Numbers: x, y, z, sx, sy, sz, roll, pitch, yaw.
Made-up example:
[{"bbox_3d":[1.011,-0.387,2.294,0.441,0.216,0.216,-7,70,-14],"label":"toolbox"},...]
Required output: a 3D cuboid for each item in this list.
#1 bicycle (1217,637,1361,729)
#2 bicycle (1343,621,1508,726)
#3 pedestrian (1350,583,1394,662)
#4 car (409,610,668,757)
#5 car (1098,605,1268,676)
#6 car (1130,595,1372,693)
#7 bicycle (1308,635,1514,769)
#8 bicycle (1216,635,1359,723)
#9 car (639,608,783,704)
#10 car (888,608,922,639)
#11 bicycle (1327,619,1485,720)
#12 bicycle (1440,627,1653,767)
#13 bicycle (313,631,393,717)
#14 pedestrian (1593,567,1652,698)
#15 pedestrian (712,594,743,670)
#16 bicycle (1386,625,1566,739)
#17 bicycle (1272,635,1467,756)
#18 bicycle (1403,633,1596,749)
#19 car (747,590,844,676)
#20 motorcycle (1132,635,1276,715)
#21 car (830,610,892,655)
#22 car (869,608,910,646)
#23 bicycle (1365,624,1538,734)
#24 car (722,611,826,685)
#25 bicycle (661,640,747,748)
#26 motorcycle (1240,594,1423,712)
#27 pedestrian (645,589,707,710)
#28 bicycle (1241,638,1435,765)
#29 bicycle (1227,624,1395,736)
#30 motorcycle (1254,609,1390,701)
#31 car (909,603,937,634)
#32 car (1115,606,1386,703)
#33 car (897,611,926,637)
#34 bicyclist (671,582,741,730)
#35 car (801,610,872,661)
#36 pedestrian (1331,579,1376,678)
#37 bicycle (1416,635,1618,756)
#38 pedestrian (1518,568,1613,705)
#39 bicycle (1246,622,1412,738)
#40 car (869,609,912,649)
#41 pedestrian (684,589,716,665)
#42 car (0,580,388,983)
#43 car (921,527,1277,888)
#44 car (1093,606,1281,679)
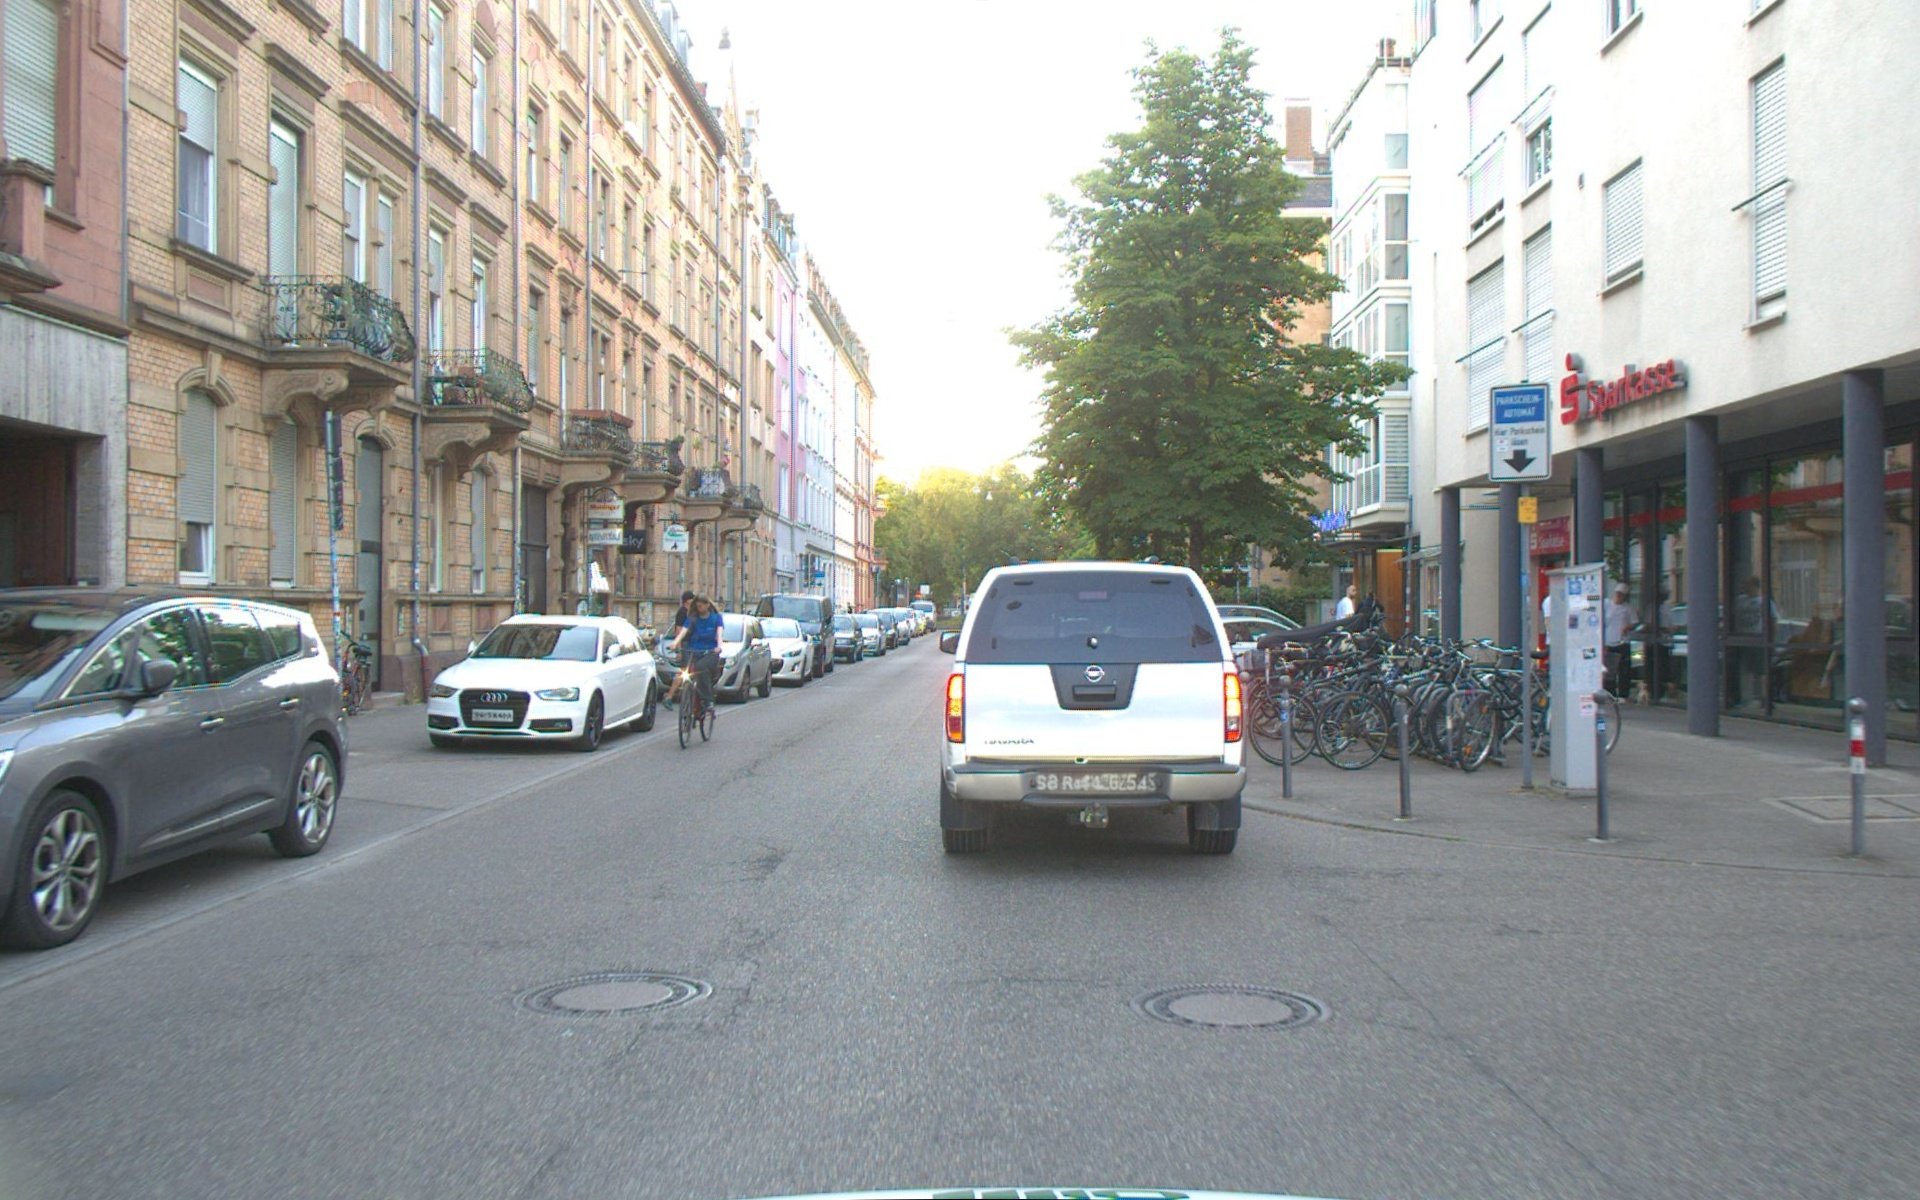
[{"bbox_3d":[4.202,1.060,21.194,1.683,1.049,0.668,-4,-2,4],"label":"bicycle"},{"bbox_3d":[5.391,0.839,19.216,1.687,1.137,0.653,-2,-1,-2],"label":"bicycle"},{"bbox_3d":[9.366,0.516,37.640,0.712,1.746,0.963,-2,-1,2],"label":"pedestrian"},{"bbox_3d":[-4.721,0.870,19.222,1.721,1.436,4.509,1,0,2],"label":"car"},{"bbox_3d":[5.279,0.952,39.471,3.718,1.478,1.734,-3,0,-4],"label":"car"},{"bbox_3d":[5.514,0.817,31.714,4.308,1.676,1.746,-2,0,1],"label":"car"},{"bbox_3d":[4.110,0.920,15.162,1.686,1.137,0.707,-2,-1,5],"label":"bicycle"},{"bbox_3d":[4.300,1.034,21.809,1.735,1.040,0.565,-4,-2,4],"label":"bicycle"},{"bbox_3d":[-4.268,0.921,28.888,1.681,1.483,4.001,2,0,3],"label":"car"},{"bbox_3d":[-3.053,1.305,92.261,1.663,1.649,4.022,2,-1,1],"label":"car"},{"bbox_3d":[5.358,0.834,19.939,1.687,1.137,0.653,-2,-1,-2],"label":"bicycle"},{"bbox_3d":[5.211,0.848,14.710,1.691,1.151,0.577,-2,-1,-11],"label":"bicycle"},{"bbox_3d":[-7.888,0.947,21.542,0.581,1.045,1.622,1,0,-6],"label":"bicycle"},{"bbox_3d":[9.075,0.433,22.652,0.650,1.753,0.661,-1,1,30],"label":"pedestrian"},{"bbox_3d":[-5.689,0.769,40.463,0.593,1.803,0.777,3,0,-3],"label":"pedestrian"},{"bbox_3d":[5.460,0.860,17.561,1.686,1.137,0.654,-2,-1,5],"label":"bicycle"},{"bbox_3d":[4.143,0.954,16.812,1.772,1.137,0.707,-2,-1,0],"label":"bicycle"},{"bbox_3d":[5.328,0.894,16.405,1.686,1.072,0.654,-2,-1,5],"label":"bicycle"},{"bbox_3d":[-4.083,0.791,41.747,1.953,1.957,4.950,2,0,-1],"label":"car"},{"bbox_3d":[3.665,1.115,24.883,2.023,1.097,0.661,-2,-1,-14],"label":"motorcycle"},{"bbox_3d":[-3.547,1.141,59.970,1.796,1.483,4.207,3,0,2],"label":"car"},{"bbox_3d":[-3.232,1.247,76.108,1.807,1.688,4.251,0,-1,-1],"label":"car"},{"bbox_3d":[5.371,0.857,18.133,1.686,1.137,0.654,-2,-1,5],"label":"bicycle"},{"bbox_3d":[-4.025,1.011,36.387,1.747,1.447,4.485,2,0,0],"label":"car"},{"bbox_3d":[-2.906,1.043,18.978,0.631,1.100,2.168,-1,0,0],"label":"bicycle"},{"bbox_3d":[5.347,0.762,23.942,2.439,1.576,0.824,-2,-1,4],"label":"motorcycle"},{"bbox_3d":[-4.290,0.748,25.024,0.542,1.786,1.023,0,-2,14],"label":"pedestrian"},{"bbox_3d":[3.641,0.966,16.034,1.687,1.137,0.707,-2,-1,0],"label":"bicycle"},{"bbox_3d":[4.179,0.954,19.818,1.830,1.203,0.743,-4,-2,6],"label":"bicycle"},{"bbox_3d":[5.891,0.882,26.977,2.016,1.393,0.717,-2,0,-2],"label":"motorcycle"},{"bbox_3d":[-2.540,1.228,112.128,1.774,2.011,4.184,2,-1,-3],"label":"car"},{"bbox_3d":[5.027,0.931,28.959,4.336,1.481,1.778,-2,0,-5],"label":"car"},{"bbox_3d":[-2.854,1.424,98.048,1.664,1.451,4.021,2,-1,-1],"label":"car"},{"bbox_3d":[-2.924,0.635,19.086,0.631,1.649,0.918,-1,0,0],"label":"bicyclist"},{"bbox_3d":[-3.751,1.091,50.916,1.701,1.443,4.779,2,-1,1],"label":"car"},{"bbox_3d":[7.235,0.529,30.445,0.614,1.784,0.586,1,-2,-10],"label":"pedestrian"},{"bbox_3d":[5.274,0.897,15.734,1.686,1.072,0.654,-2,-1,5],"label":"bicycle"},{"bbox_3d":[8.039,0.470,21.963,0.769,1.753,0.899,-3,1,-42],"label":"pedestrian"},{"bbox_3d":[4.221,0.907,18.974,1.750,1.203,0.734,-4,-2,12],"label":"bicycle"},{"bbox_3d":[-2.910,1.200,69.781,1.602,1.593,3.781,1,0,1],"label":"car"},{"bbox_3d":[-6.321,0.640,40.174,0.568,1.802,0.997,3,0,-2],"label":"pedestrian"},{"bbox_3d":[-4.806,0.730,8.847,1.814,1.662,4.446,1,0,2],"label":"car"},{"bbox_3d":[0.966,0.619,11.682,1.871,1.885,5.273,2,-1,5],"label":"car"},{"bbox_3d":[5.017,0.924,36.897,3.906,1.481,1.828,-2,0,-1],"label":"car"}]
